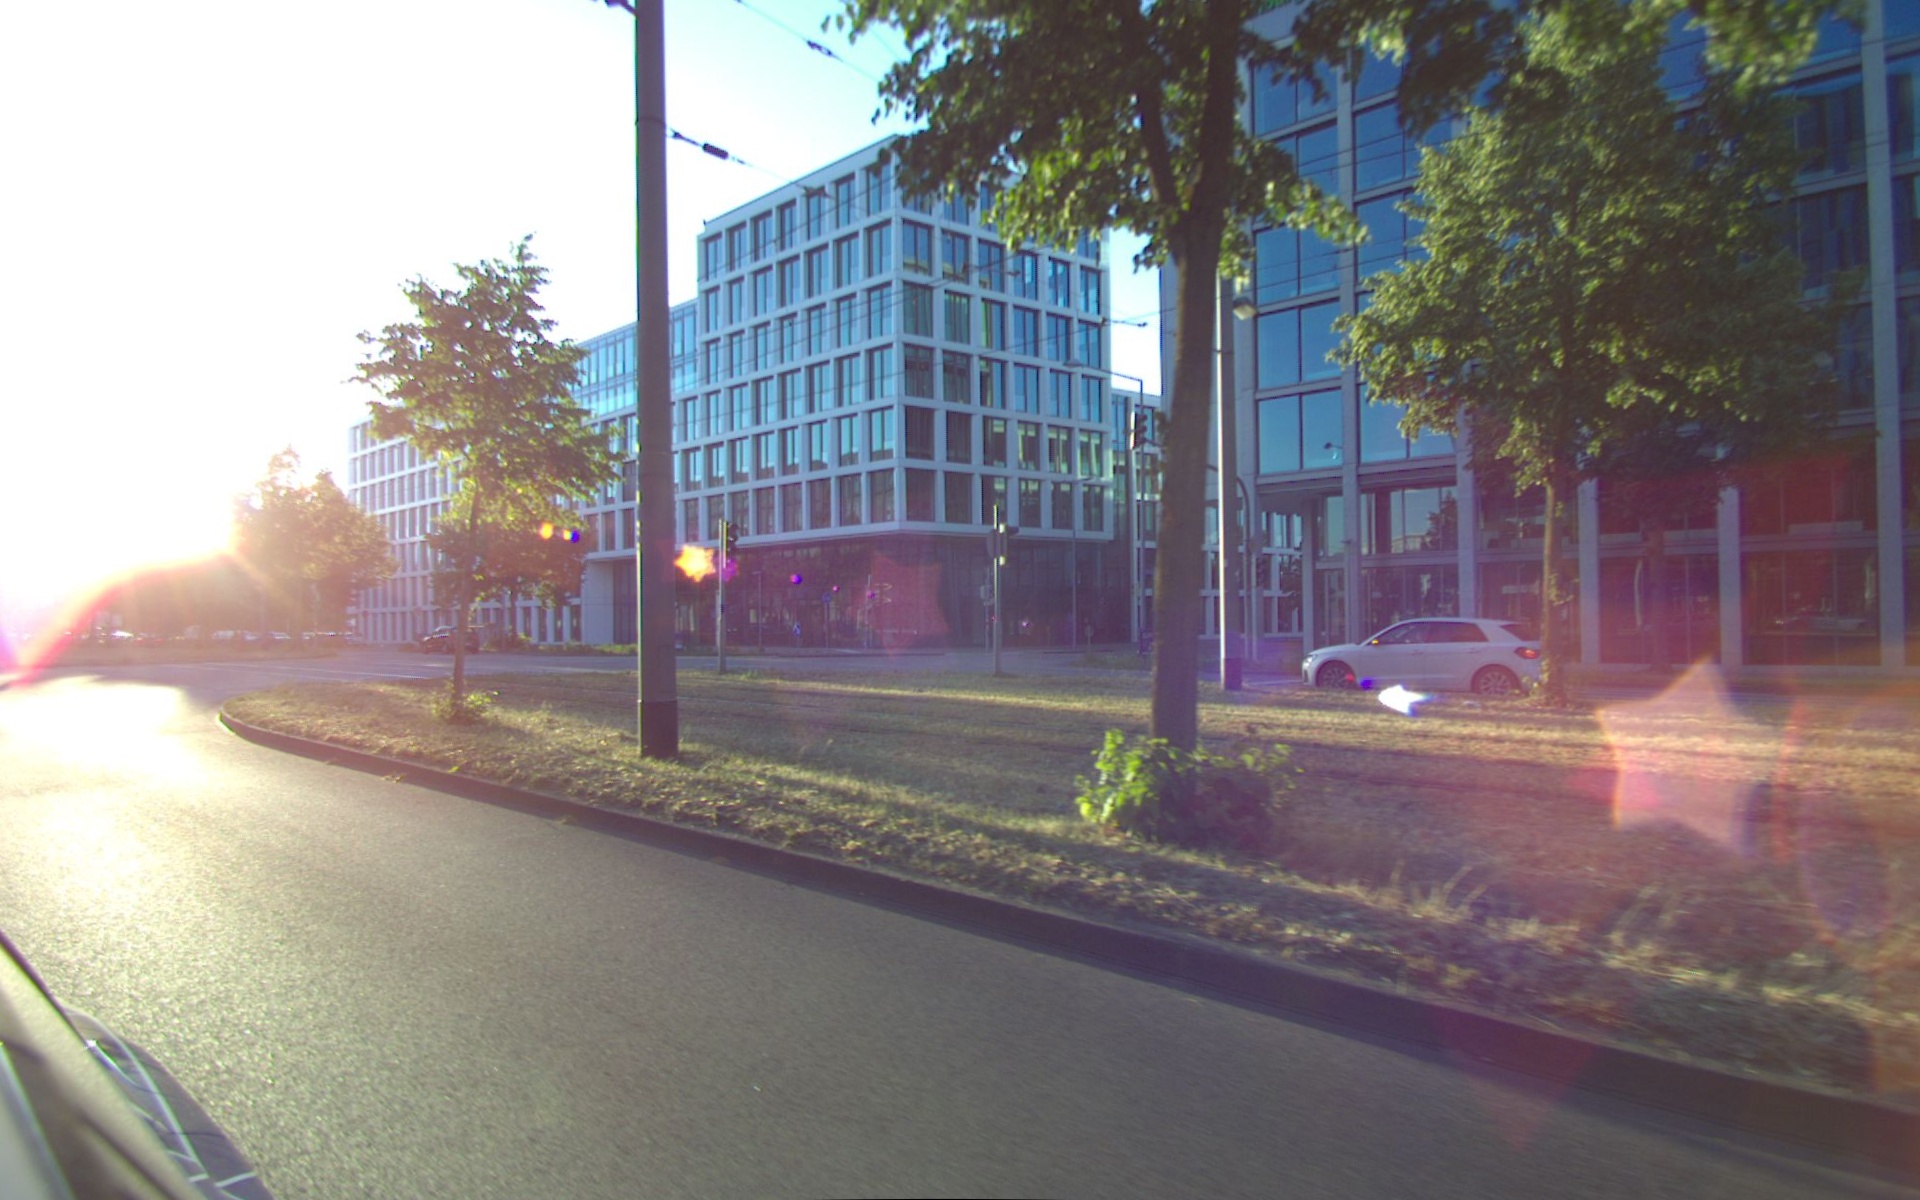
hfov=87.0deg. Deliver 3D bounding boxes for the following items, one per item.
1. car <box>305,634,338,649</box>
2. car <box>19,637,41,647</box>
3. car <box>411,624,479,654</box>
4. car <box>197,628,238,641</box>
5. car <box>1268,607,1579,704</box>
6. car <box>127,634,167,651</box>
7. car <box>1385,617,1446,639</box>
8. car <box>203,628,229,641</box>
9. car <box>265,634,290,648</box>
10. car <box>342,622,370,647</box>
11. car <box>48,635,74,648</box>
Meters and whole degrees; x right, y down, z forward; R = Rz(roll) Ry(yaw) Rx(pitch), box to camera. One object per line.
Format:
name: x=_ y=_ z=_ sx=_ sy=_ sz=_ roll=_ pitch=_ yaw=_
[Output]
car: x=-66.984 y=4.352 z=106.148 sx=3.996 sy=1.413 sz=1.741 roll=-2 pitch=-2 yaw=40
car: x=-125.601 y=5.669 z=136.640 sx=3.996 sy=1.413 sz=1.629 roll=-2 pitch=-2 yaw=40
car: x=-26.531 y=2.007 z=52.127 sx=3.995 sy=1.460 sz=1.625 roll=-2 pitch=-2 yaw=39
car: x=-99.123 y=4.602 z=135.083 sx=1.998 sy=1.754 sz=4.032 roll=-2 pitch=-2 yaw=38
car: x=7.992 y=0.904 z=17.708 sx=4.627 sy=1.497 sz=1.883 roll=-2 pitch=-2 yaw=40
car: x=-72.481 y=3.770 z=90.194 sx=4.896 sy=1.445 sz=1.973 roll=-2 pitch=-1 yaw=41
car: x=36.537 y=2.232 z=81.288 sx=1.970 sy=1.677 sz=4.003 roll=0 pitch=-2 yaw=-44
car: x=-102.105 y=4.695 z=138.849 sx=4.608 sy=1.754 sz=1.973 roll=-2 pitch=-2 yaw=41
car: x=-83.374 y=4.996 z=123.593 sx=1.969 sy=1.604 sz=4.340 roll=0 pitch=-2 yaw=-42
car: x=-76.057 y=4.376 z=127.367 sx=2.132 sy=3.014 sz=5.729 roll=0 pitch=-2 yaw=-41
car: x=-103.727 y=4.756 z=116.726 sx=3.996 sy=1.413 sz=1.629 roll=-2 pitch=-2 yaw=40
